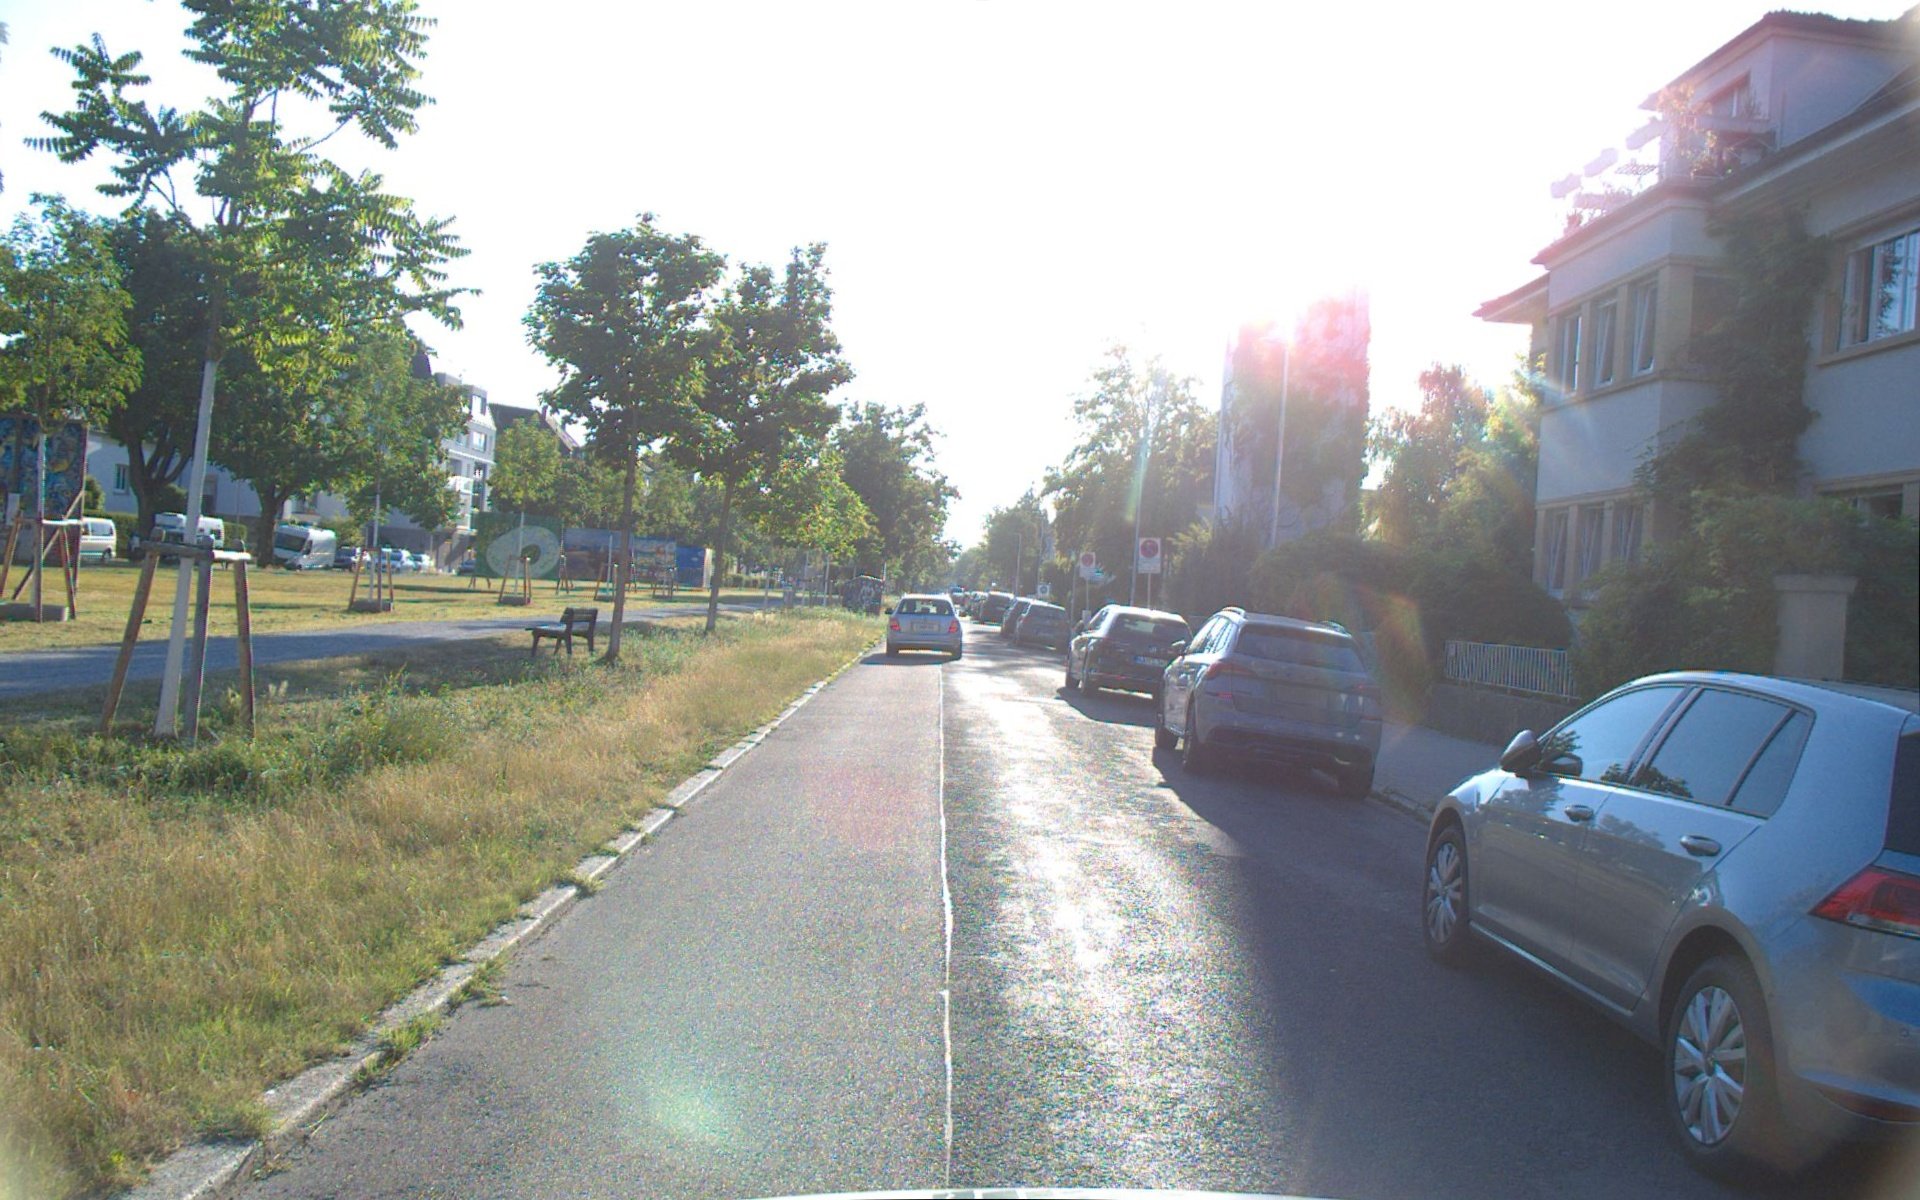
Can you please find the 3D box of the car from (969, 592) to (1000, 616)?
[{"bbox_3d":[1.706,0.265,115.993,1.953,1.487,4.562,6,0,1],"label":"car"}]

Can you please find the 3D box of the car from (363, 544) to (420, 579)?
[{"bbox_3d":[-34.572,-2.339,100.675,1.796,1.932,4.642,1,-1,0],"label":"car"}]

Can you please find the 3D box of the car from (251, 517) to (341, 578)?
[{"bbox_3d":[-34.076,-2.635,85.052,2.214,2.875,5.870,1,-1,0],"label":"car"}]

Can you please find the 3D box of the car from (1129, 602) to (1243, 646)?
[{"bbox_3d":[10.147,1.079,74.384,4.750,1.512,2.001,5,-3,-1],"label":"car"}]

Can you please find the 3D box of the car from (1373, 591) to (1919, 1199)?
[{"bbox_3d":[3.164,0.936,6.204,1.874,1.585,4.566,8,1,-1],"label":"car"}]

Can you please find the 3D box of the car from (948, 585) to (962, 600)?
[{"bbox_3d":[-0.745,-1.045,244.685,1.948,2.058,4.000,4,0,0],"label":"car"}]

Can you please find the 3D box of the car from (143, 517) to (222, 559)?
[{"bbox_3d":[-33.658,-2.662,71.714,1.386,1.591,4.308,4,0,-2],"label":"car"}]

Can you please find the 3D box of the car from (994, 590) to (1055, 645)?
[{"bbox_3d":[2.299,0.585,59.846,1.787,1.586,4.621,10,1,0],"label":"car"}]

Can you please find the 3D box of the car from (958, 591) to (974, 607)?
[{"bbox_3d":[0.625,-0.146,186.332,1.686,1.624,3.999,4,-1,0],"label":"car"}]

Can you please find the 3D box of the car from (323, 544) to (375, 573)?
[{"bbox_3d":[-40.260,-2.714,109.090,1.745,1.732,4.666,1,-1,-1],"label":"car"}]

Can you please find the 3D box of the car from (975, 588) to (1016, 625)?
[{"bbox_3d":[1.863,0.348,87.870,1.796,1.761,5.030,6,0,-1],"label":"car"}]

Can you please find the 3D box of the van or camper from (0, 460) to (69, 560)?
[{"bbox_3d":[-33.615,-3.153,56.305,2.588,3.319,6.904,4,0,0],"label":"van or camper"}]

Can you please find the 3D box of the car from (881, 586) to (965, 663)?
[{"bbox_3d":[-0.814,0.529,38.567,1.786,1.593,4.000,3,1,0],"label":"car"}]

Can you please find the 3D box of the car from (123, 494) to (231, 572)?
[{"bbox_3d":[-39.688,-3.327,84.069,2.256,3.621,6.764,1,-1,-1],"label":"car"}]

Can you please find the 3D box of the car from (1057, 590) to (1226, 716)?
[{"bbox_3d":[2.895,0.821,27.496,1.955,1.624,4.884,8,-1,-2],"label":"car"}]

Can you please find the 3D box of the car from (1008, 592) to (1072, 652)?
[{"bbox_3d":[2.511,0.672,52.916,1.654,1.553,4.174,8,1,0],"label":"car"}]

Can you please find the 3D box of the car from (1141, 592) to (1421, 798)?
[{"bbox_3d":[3.042,0.858,16.622,1.846,1.562,4.462,7,-1,1],"label":"car"}]

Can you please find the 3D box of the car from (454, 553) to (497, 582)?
[{"bbox_3d":[-34.776,-2.312,118.845,1.851,1.950,4.326,1,-1,-1],"label":"car"}]
